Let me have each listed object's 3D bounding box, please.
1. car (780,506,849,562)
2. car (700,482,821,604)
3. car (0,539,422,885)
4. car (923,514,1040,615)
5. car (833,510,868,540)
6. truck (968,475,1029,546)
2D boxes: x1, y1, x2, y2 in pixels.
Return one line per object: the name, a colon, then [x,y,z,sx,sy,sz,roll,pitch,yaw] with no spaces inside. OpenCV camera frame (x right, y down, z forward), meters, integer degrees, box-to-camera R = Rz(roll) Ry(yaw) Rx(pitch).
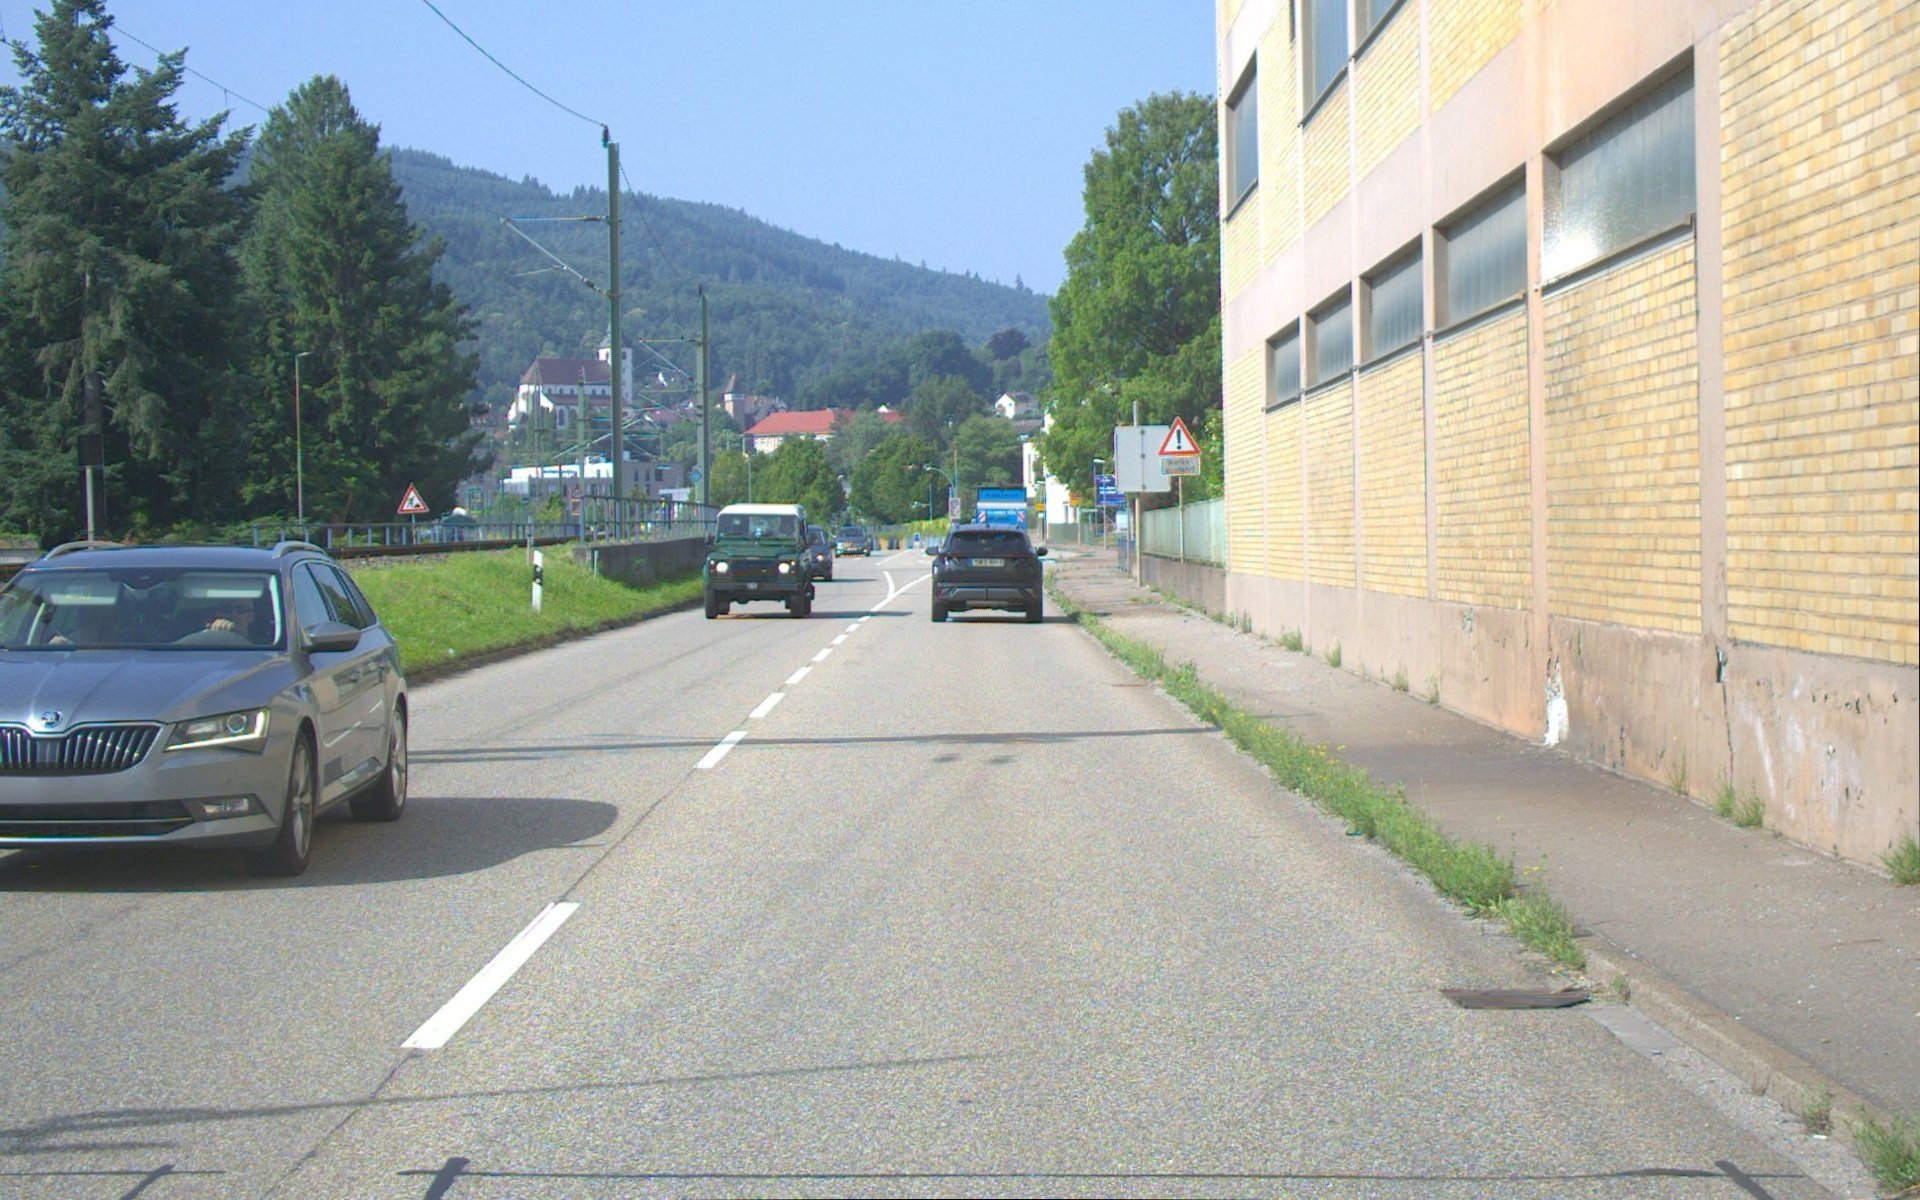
car: [-4.036,-1.859,96.030,1.731,1.521,4.092,0,1,0]
car: [-3.539,-1.037,61.689,1.758,2.071,4.808,1,1,1]
car: [-3.760,0.436,16.483,1.767,1.400,4.297,-1,1,-2]
car: [0.376,-0.627,58.479,1.919,1.634,4.000,0,1,1]
car: [-5.557,-3.815,174.419,1.741,1.502,4.200,0,1,-1]
truck: [1.632,-3.838,147.214,2.312,2.960,5.966,-1,2,-2]
